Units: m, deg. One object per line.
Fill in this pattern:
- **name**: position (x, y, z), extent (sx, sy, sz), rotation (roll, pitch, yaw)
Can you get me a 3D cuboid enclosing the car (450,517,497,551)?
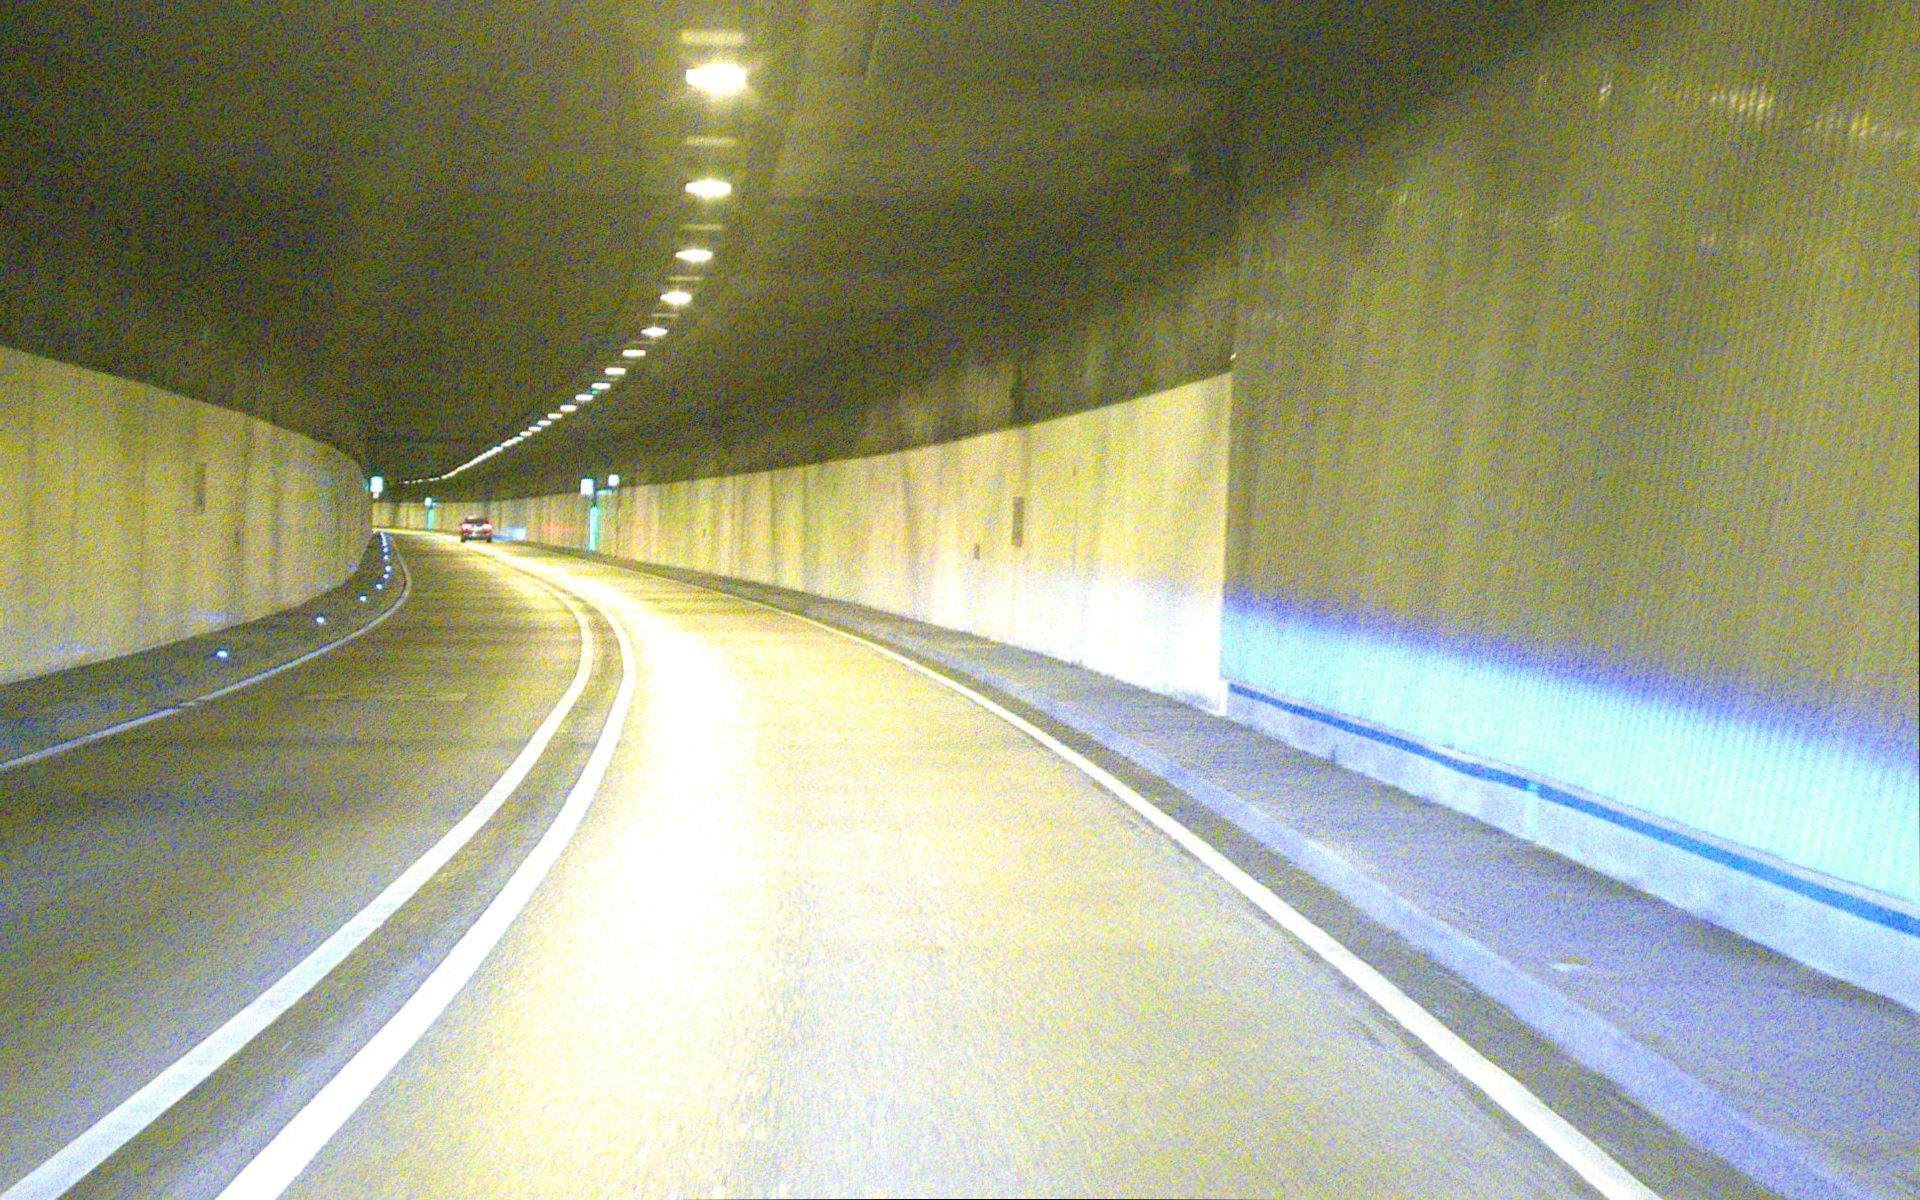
- **car**: position (-29.568, -4.015, 208.774), extent (1.966, 1.932, 4.614), rotation (2, 0, -18)
